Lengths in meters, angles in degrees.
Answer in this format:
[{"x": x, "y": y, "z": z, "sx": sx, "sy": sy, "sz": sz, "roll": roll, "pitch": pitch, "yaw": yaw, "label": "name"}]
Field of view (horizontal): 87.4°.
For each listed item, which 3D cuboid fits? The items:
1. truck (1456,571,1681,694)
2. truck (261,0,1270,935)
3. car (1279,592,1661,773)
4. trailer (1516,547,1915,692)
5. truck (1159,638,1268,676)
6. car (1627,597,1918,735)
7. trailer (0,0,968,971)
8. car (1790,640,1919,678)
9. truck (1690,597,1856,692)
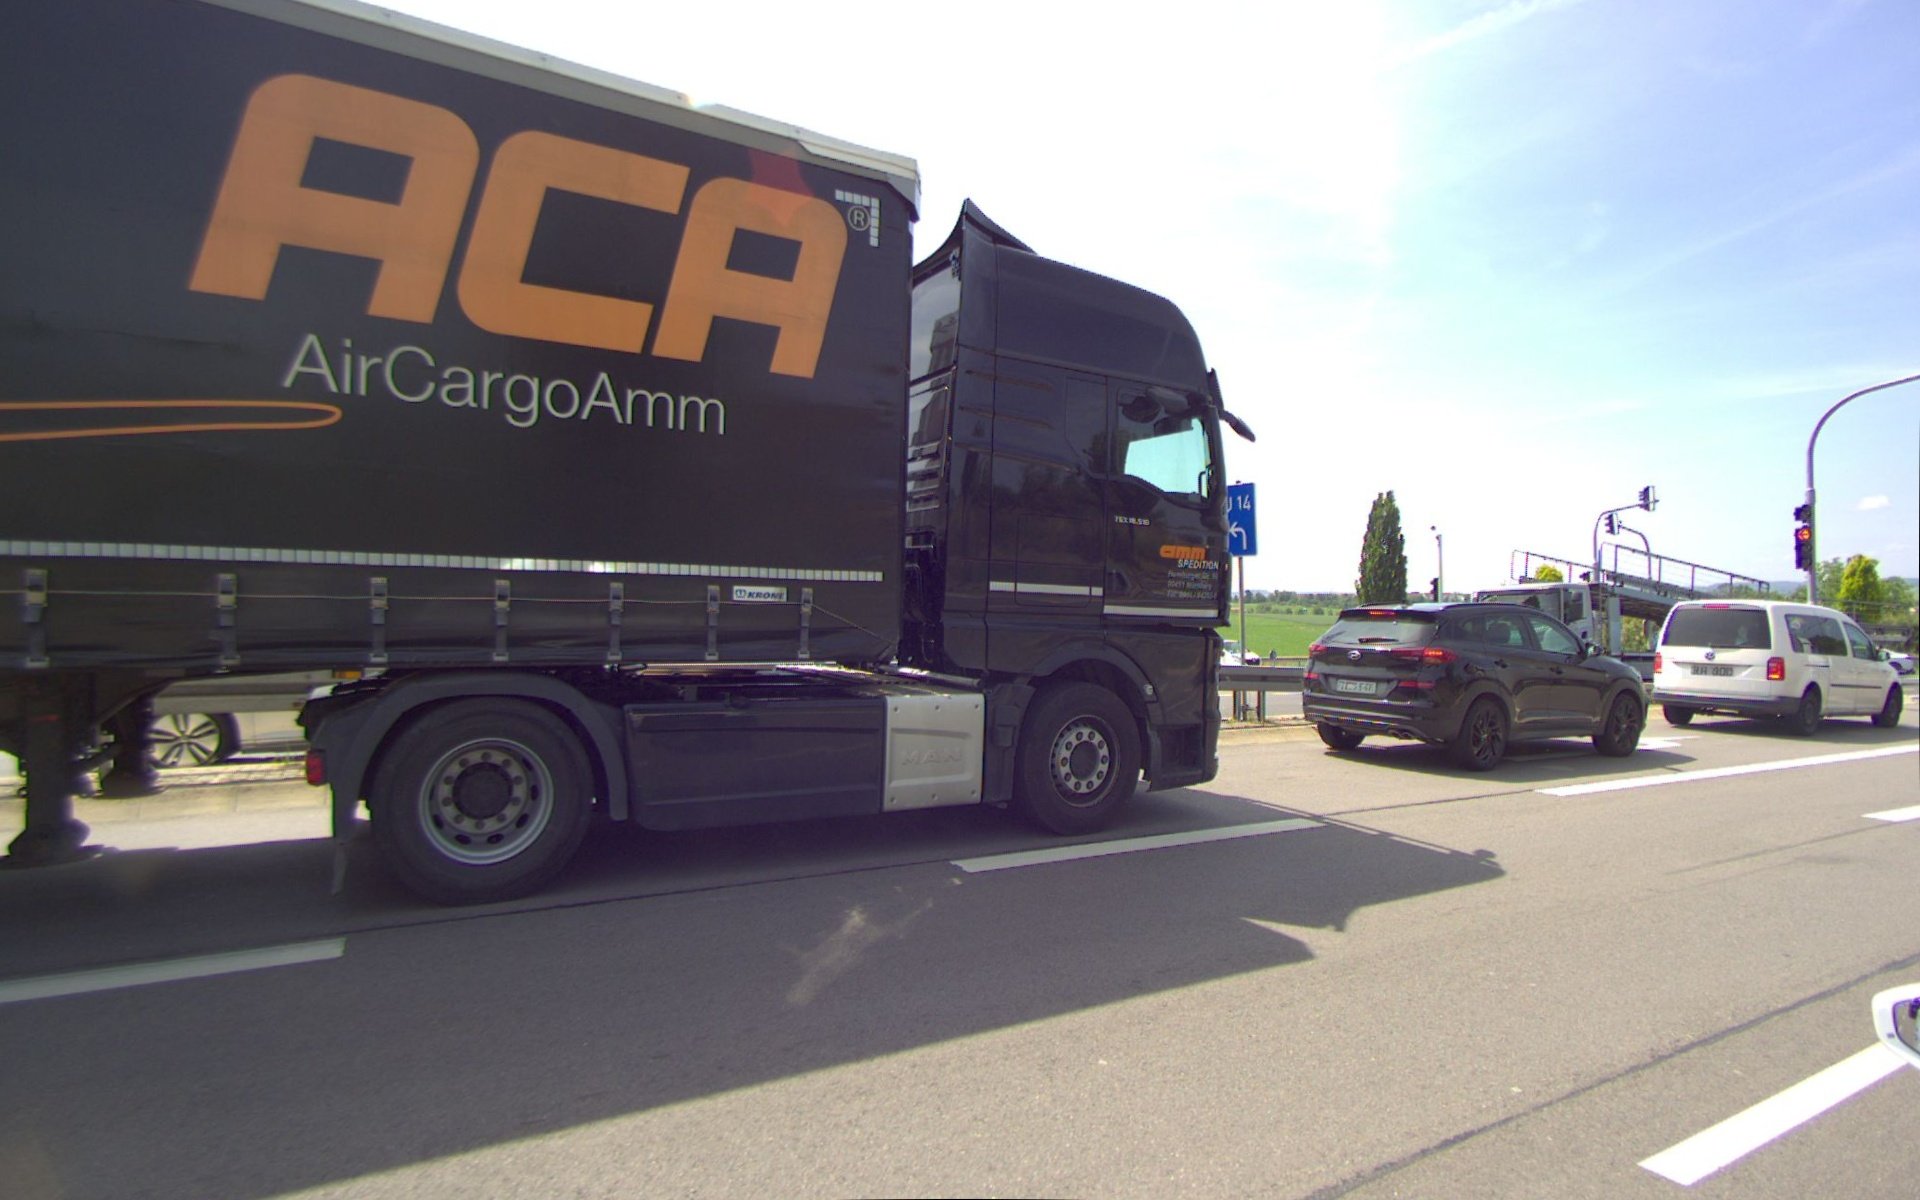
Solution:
[{"x": 16.811, "y": 0.920, "z": 27.679, "sx": 5.918, "sy": 3.053, "sz": 2.787, "roll": 2, "pitch": -2, "yaw": -29, "label": "truck"}, {"x": -1.032, "y": -0.573, "z": 6.910, "sx": 5.903, "sy": 4.067, "sz": 2.769, "roll": 2, "pitch": 0, "yaw": -31, "label": "truck"}, {"x": 5.767, "y": 0.807, "z": 11.229, "sx": 4.299, "sy": 1.679, "sz": 1.846, "roll": 2, "pitch": 0, "yaw": -32, "label": "car"}, {"x": 25.075, "y": 0.867, "z": 32.367, "sx": 19.560, "sy": 3.813, "sz": 2.628, "roll": 2, "pitch": -2, "yaw": -29, "label": "trailer"}, {"x": 12.613, "y": 2.847, "z": 50.304, "sx": 1.981, "sy": 1.779, "sz": 5.229, "roll": 2, "pitch": -3, "yaw": -36, "label": "truck"}, {"x": 12.367, "y": 0.933, "z": 15.221, "sx": 4.693, "sy": 1.822, "sz": 1.760, "roll": 2, "pitch": 0, "yaw": -29, "label": "car"}, {"x": -6.520, "y": -0.674, "z": 3.576, "sx": 13.629, "sy": 3.965, "sz": 2.769, "roll": 2, "pitch": 0, "yaw": -31, "label": "trailer"}, {"x": 41.326, "y": 2.705, "z": 46.357, "sx": 4.402, "sy": 1.479, "sz": 1.634, "roll": 2, "pitch": 0, "yaw": 10, "label": "car"}, {"x": 20.365, "y": 1.121, "z": 25.117, "sx": 4.575, "sy": 2.185, "sz": 1.955, "roll": 2, "pitch": -2, "yaw": -34, "label": "truck"}]
